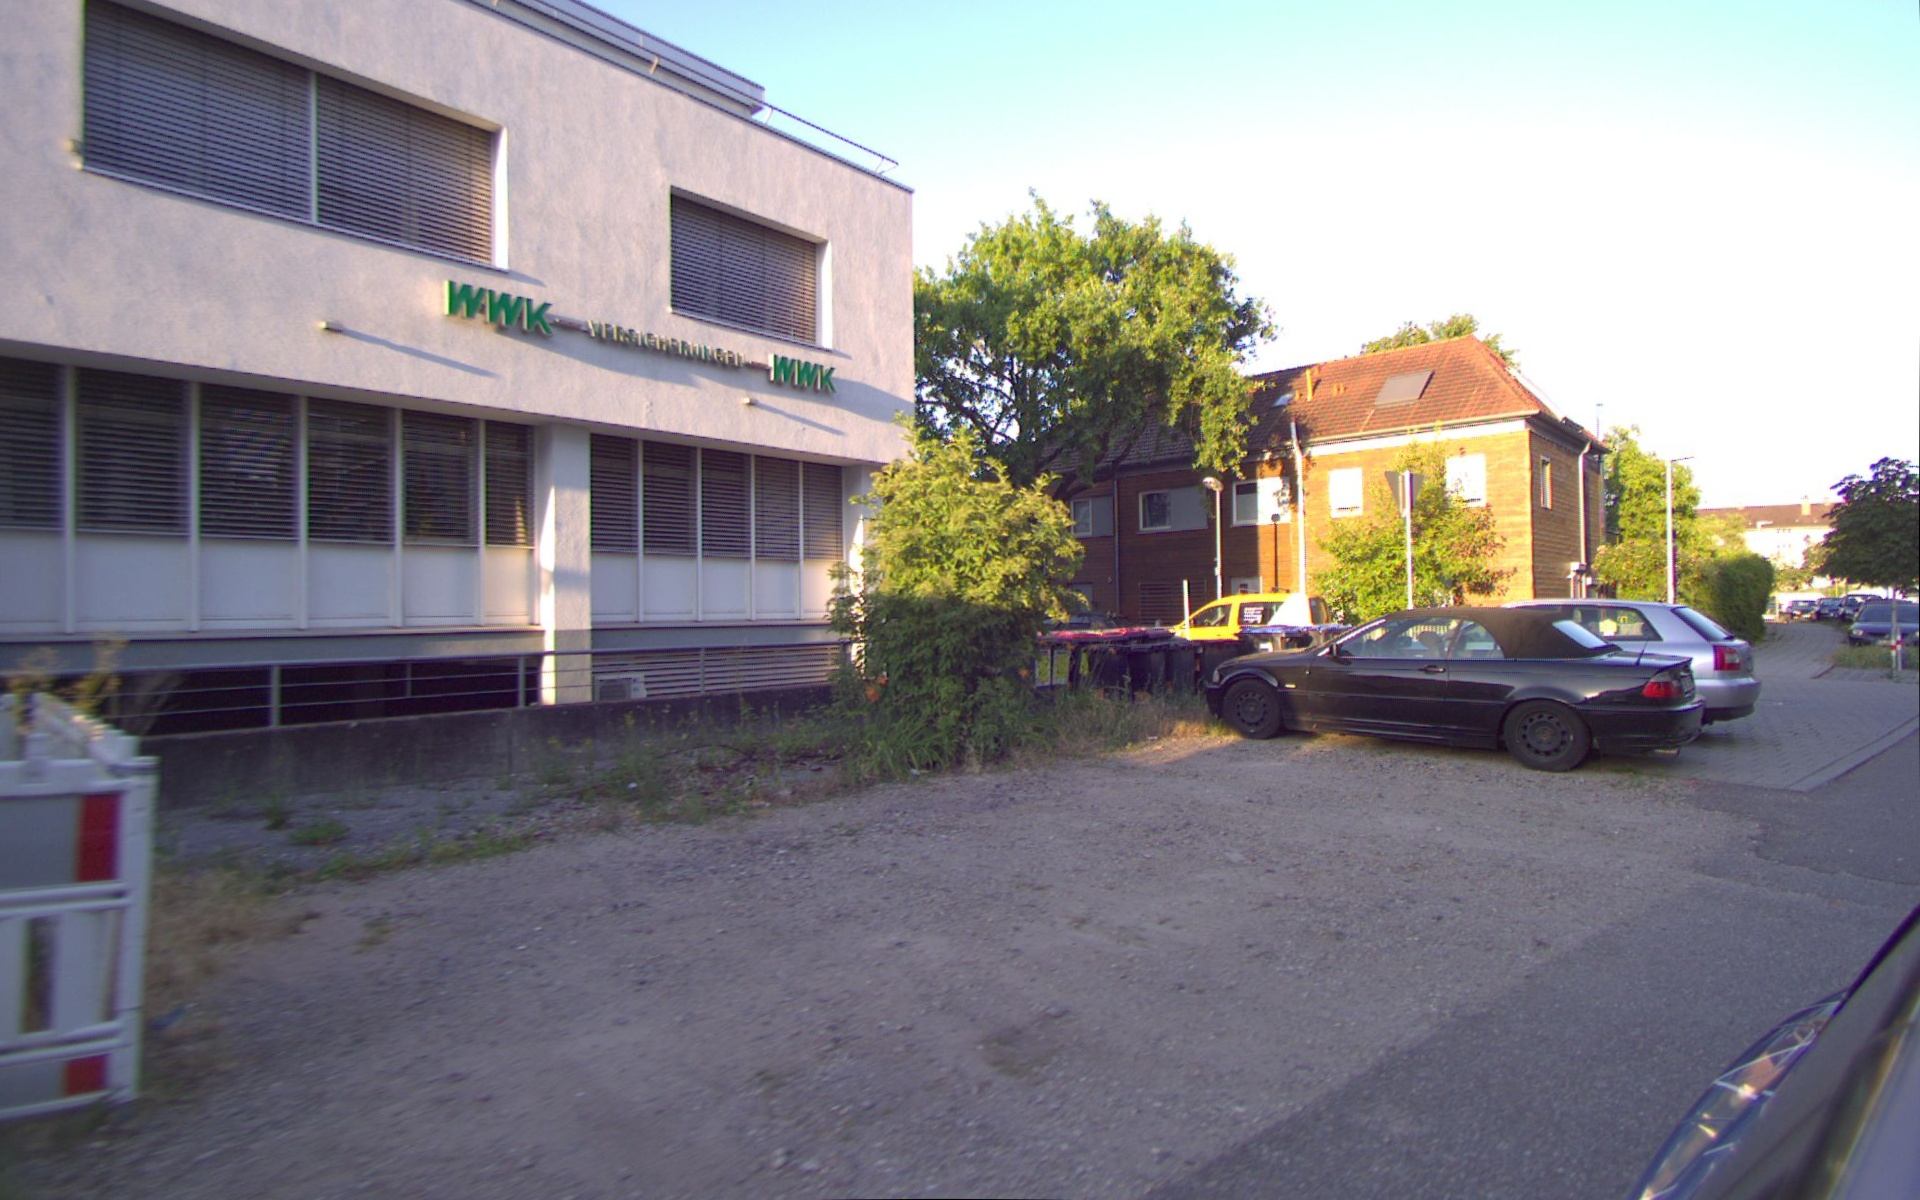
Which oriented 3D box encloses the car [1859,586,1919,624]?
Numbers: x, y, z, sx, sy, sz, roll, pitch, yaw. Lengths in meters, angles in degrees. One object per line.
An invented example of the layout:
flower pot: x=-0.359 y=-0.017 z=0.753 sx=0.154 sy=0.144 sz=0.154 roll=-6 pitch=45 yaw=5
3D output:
car: x=37.958 y=0.183 z=41.380 sx=1.764 sy=1.481 sz=4.301 roll=-1 pitch=0 yaw=42

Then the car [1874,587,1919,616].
car: x=55.532 y=0.083 z=59.778 sx=1.753 sy=1.641 sz=4.717 roll=-1 pitch=0 yaw=36

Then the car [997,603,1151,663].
car: x=2.952 y=0.852 z=26.546 sx=3.593 sy=1.474 sz=1.928 roll=-1 pitch=-2 yaw=41

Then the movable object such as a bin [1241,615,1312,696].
movable object such as a bin: x=4.231 y=0.721 z=13.524 sx=0.703 sy=1.034 sz=0.702 roll=-2 pitch=-1 yaw=38

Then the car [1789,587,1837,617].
car: x=43.805 y=0.090 z=51.949 sx=1.764 sy=1.481 sz=4.301 roll=-1 pitch=0 yaw=42

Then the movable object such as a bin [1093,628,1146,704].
movable object such as a bin: x=1.911 y=0.779 z=12.132 sx=0.389 sy=0.868 sz=0.476 roll=0 pitch=-1 yaw=-44

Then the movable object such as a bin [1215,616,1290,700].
movable object such as a bin: x=3.761 y=0.727 z=13.012 sx=0.703 sy=1.034 sz=0.702 roll=-2 pitch=-1 yaw=38

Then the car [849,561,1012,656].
car: x=-0.939 y=0.284 z=29.979 sx=4.734 sy=2.593 sz=2.066 roll=-1 pitch=-2 yaw=42

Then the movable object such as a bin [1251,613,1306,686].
movable object such as a bin: x=4.669 y=0.711 z=14.841 sx=0.641 sy=1.034 sz=0.440 roll=-2 pitch=-1 yaw=38

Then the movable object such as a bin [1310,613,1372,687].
movable object such as a bin: x=5.523 y=0.708 z=14.666 sx=0.641 sy=1.034 sz=0.702 roll=-2 pitch=-1 yaw=38

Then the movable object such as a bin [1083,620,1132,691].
movable object such as a bin: x=2.041 y=0.760 z=14.005 sx=0.467 sy=0.943 sz=0.517 roll=-1 pitch=0 yaw=45

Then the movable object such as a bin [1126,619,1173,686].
movable object such as a bin: x=2.770 y=0.752 z=14.803 sx=0.467 sy=0.943 sz=0.517 roll=-1 pitch=0 yaw=45

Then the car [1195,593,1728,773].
car: x=4.664 y=0.613 z=9.868 sx=4.316 sy=1.350 sz=1.866 roll=0 pitch=1 yaw=45

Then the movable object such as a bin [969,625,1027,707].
movable object such as a bin: x=0.459 y=0.779 z=12.150 sx=0.467 sy=0.943 sz=0.517 roll=-1 pitch=0 yaw=45

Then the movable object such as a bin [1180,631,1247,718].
movable object such as a bin: x=3.180 y=0.917 z=12.678 sx=0.620 sy=1.034 sz=0.553 roll=-2 pitch=-1 yaw=41

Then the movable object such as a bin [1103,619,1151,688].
movable object such as a bin: x=2.378 y=0.756 z=14.420 sx=0.467 sy=0.943 sz=0.517 roll=-1 pitch=0 yaw=45

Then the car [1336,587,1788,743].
car: x=6.587 y=0.579 z=11.351 sx=4.056 sy=1.425 sz=1.866 roll=1 pitch=0 yaw=45

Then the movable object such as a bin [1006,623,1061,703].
movable object such as a bin: x=0.915 y=0.774 z=12.645 sx=0.467 sy=0.943 sz=0.517 roll=-1 pitch=0 yaw=45

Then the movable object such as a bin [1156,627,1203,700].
movable object such as a bin: x=2.701 y=0.773 z=12.446 sx=0.414 sy=0.868 sz=0.390 roll=-2 pitch=-1 yaw=41

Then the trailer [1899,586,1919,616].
trailer: x=53.475 y=0.073 z=56.025 sx=1.690 sy=1.641 sz=3.715 roll=-1 pitch=-1 yaw=36

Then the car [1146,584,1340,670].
car: x=6.415 y=0.611 z=23.199 sx=3.936 sy=1.789 sz=1.756 roll=-1 pitch=-2 yaw=42

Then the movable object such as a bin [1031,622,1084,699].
movable object such as a bin: x=1.264 y=0.770 z=13.120 sx=0.467 sy=0.943 sz=0.517 roll=-1 pitch=0 yaw=45

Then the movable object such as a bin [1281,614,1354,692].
movable object such as a bin: x=4.948 y=0.715 z=14.002 sx=0.754 sy=1.034 sz=0.702 roll=-2 pitch=-1 yaw=38

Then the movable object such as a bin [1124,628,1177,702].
movable object such as a bin: x=2.316 y=0.776 z=12.311 sx=0.389 sy=0.868 sz=0.499 roll=0 pitch=-1 yaw=-43

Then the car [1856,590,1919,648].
car: x=25.665 y=0.476 z=27.511 sx=4.297 sy=1.481 sz=1.677 roll=0 pitch=0 yaw=-45

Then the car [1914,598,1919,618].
car: x=73.334 y=0.578 z=76.287 sx=1.791 sy=1.470 sz=3.968 roll=-4 pitch=-2 yaw=41

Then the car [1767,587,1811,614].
car: x=47.642 y=0.036 z=58.106 sx=1.764 sy=1.481 sz=4.301 roll=-1 pitch=0 yaw=42

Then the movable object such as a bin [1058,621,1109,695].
movable object such as a bin: x=1.661 y=0.765 z=13.593 sx=0.467 sy=0.943 sz=0.517 roll=-1 pitch=0 yaw=45

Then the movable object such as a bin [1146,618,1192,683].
movable object such as a bin: x=3.145 y=0.748 z=15.205 sx=0.467 sy=0.943 sz=0.517 roll=-1 pitch=0 yaw=45

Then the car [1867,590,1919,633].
car: x=33.792 y=0.382 z=36.386 sx=1.764 sy=1.481 sz=4.301 roll=-1 pitch=0 yaw=42
